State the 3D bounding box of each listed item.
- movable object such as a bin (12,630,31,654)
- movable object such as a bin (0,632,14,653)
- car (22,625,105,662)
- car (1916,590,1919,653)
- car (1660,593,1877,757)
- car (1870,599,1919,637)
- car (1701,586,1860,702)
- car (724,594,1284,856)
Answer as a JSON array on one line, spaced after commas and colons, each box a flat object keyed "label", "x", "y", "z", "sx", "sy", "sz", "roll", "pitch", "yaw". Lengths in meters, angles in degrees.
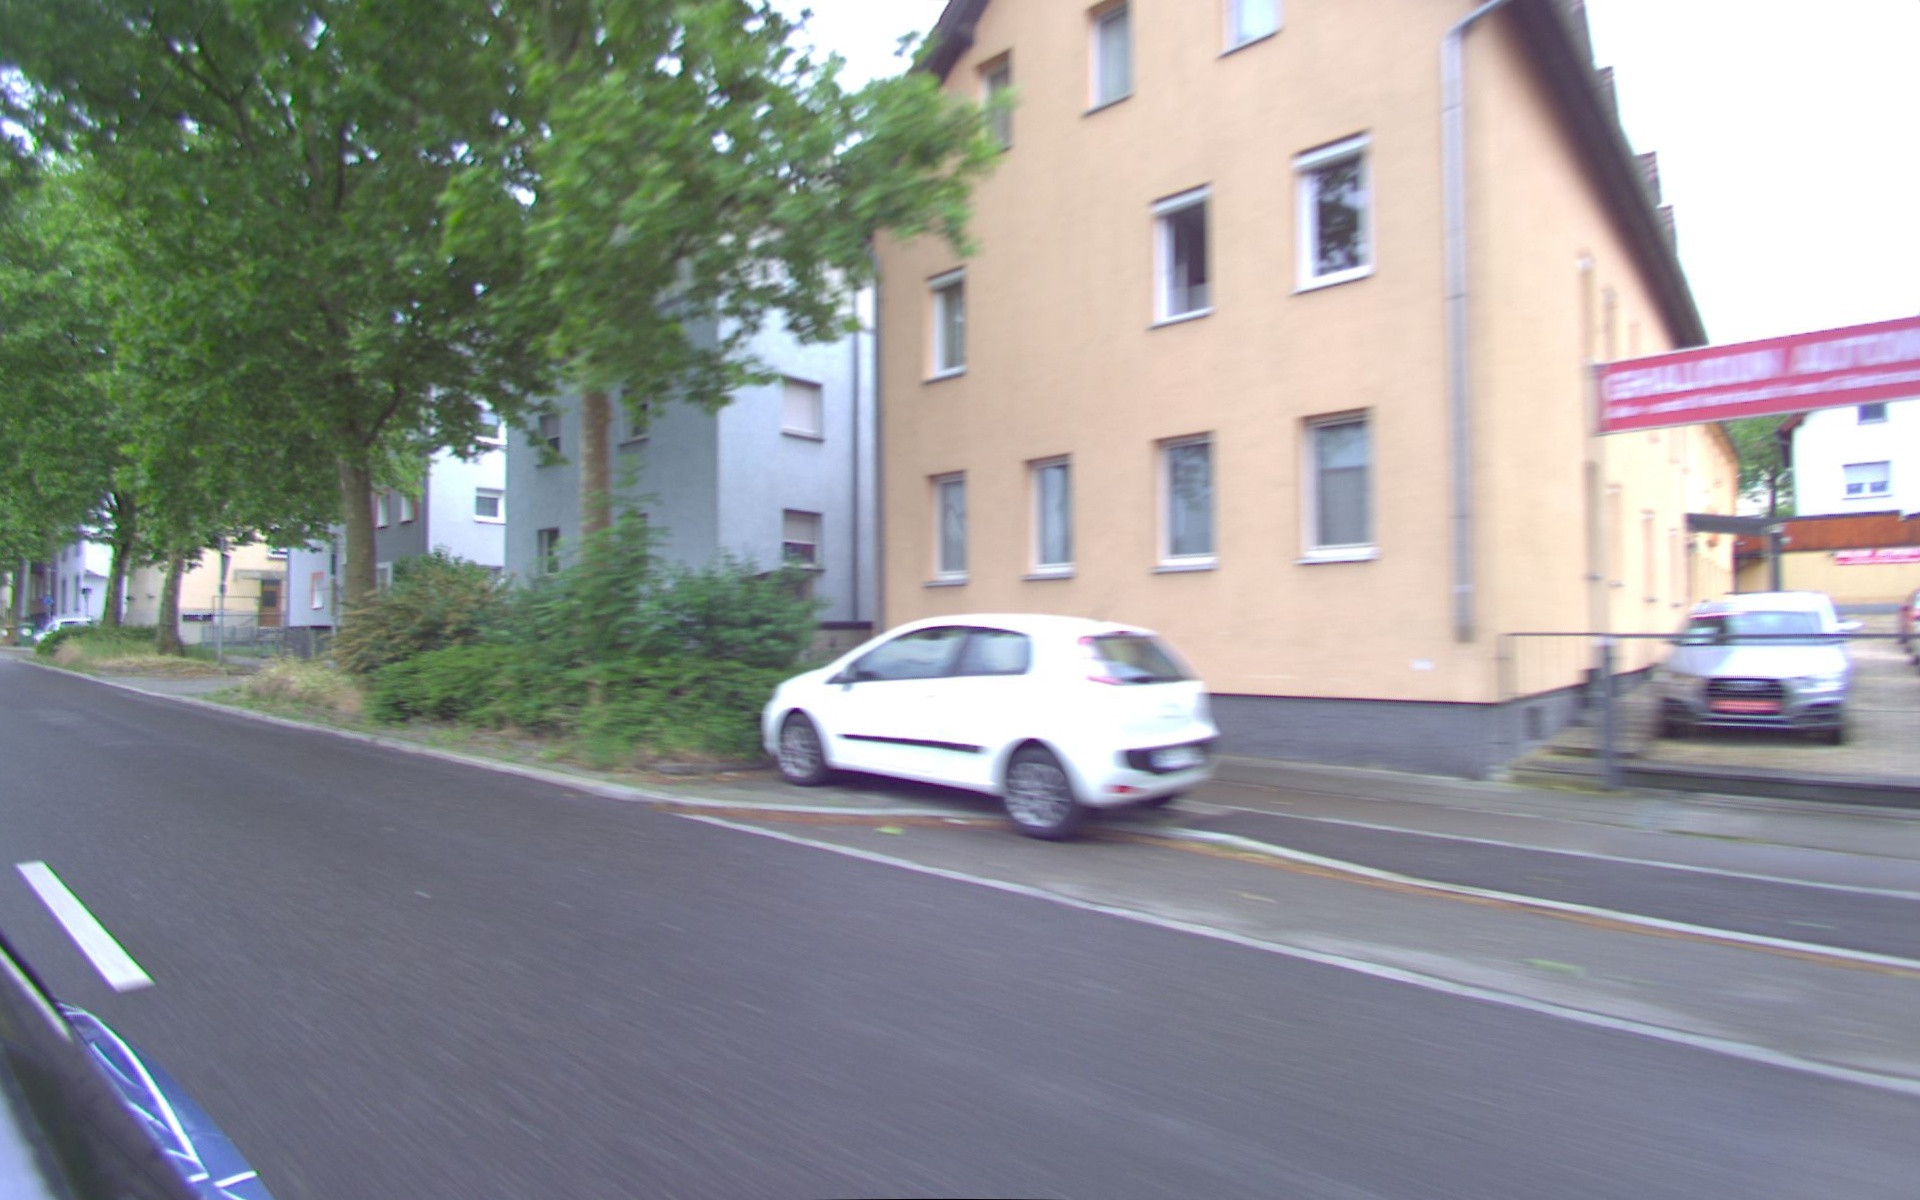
[{"label": "movable object such as a bin", "x": -42.505, "y": 1.884, "z": 45.848, "sx": 0.762, "sy": 1.065, "sz": 0.529, "roll": 0, "pitch": -2, "yaw": 41}, {"label": "movable object such as a bin", "x": -42.844, "y": 1.919, "z": 45.389, "sx": 0.581, "sy": 0.935, "sz": 0.506, "roll": 0, "pitch": -2, "yaw": 41}, {"label": "car", "x": -36.102, "y": 1.713, "z": 40.720, "sx": 4.533, "sy": 1.336, "sz": 1.738, "roll": -1, "pitch": -1, "yaw": 38}, {"label": "car", "x": 22.869, "y": 0.464, "z": 23.023, "sx": 1.584, "sy": 1.363, "sz": 3.388, "roll": 0, "pitch": 1, "yaw": 43}, {"label": "car", "x": 10.082, "y": 0.782, "z": 12.504, "sx": 1.782, "sy": 1.626, "sz": 3.943, "roll": -2, "pitch": 0, "yaw": 43}, {"label": "car", "x": 28.364, "y": 0.524, "z": 30.384, "sx": 1.463, "sy": 1.057, "sz": 2.895, "roll": 2, "pitch": 2, "yaw": 43}, {"label": "car", "x": 13.444, "y": 0.628, "z": 16.511, "sx": 1.736, "sy": 1.626, "sz": 3.807, "roll": -2, "pitch": 0, "yaw": 43}, {"label": "car", "x": 0.141, "y": 0.804, "z": 8.154, "sx": 4.349, "sy": 1.563, "sz": 1.767, "roll": -2, "pitch": -2, "yaw": 41}]
